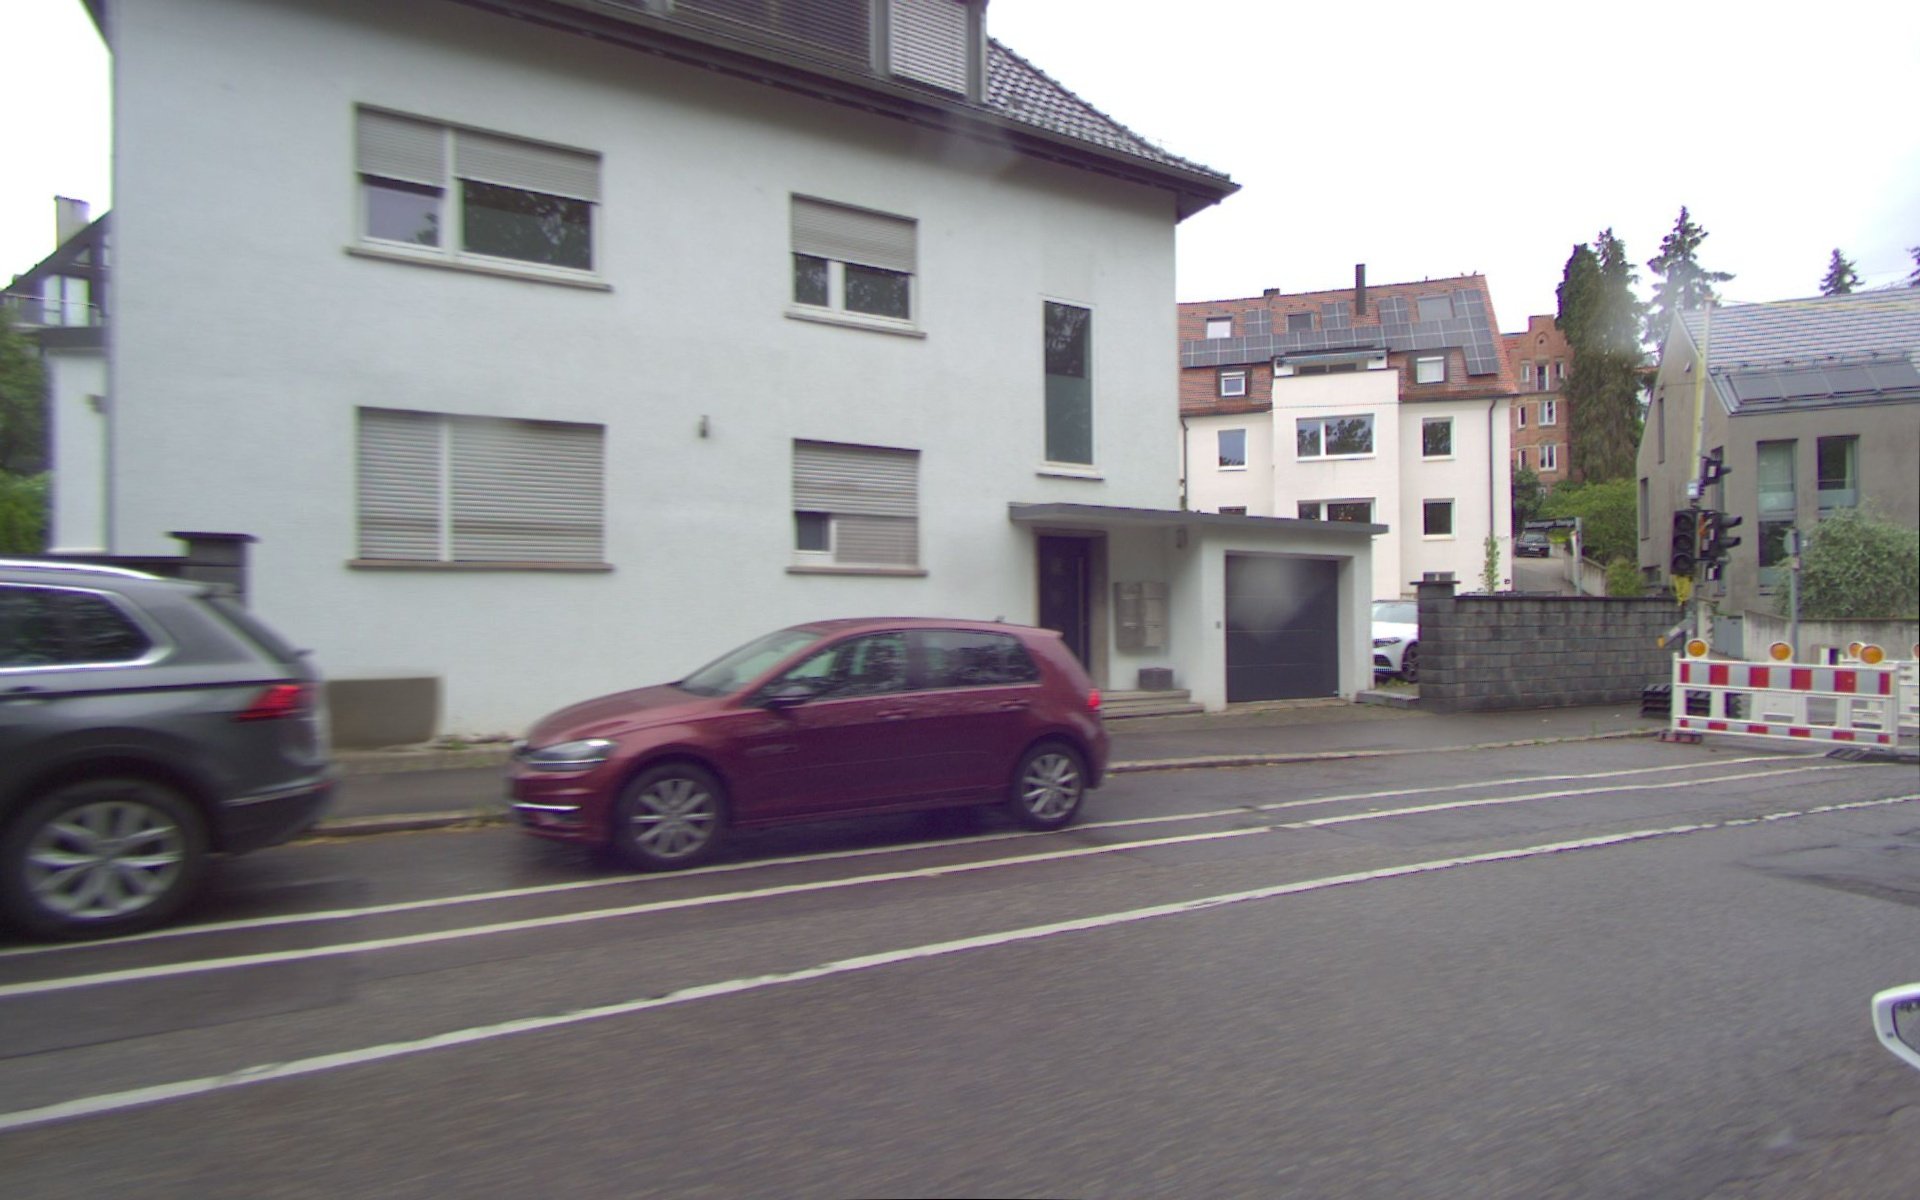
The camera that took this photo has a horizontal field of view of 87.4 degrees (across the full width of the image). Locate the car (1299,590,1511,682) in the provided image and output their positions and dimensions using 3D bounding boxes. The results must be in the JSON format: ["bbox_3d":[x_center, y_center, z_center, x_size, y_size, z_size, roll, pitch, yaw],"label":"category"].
[{"bbox_3d":[7.917,0.627,17.825,3.576,1.483,1.767,1,-2,-32],"label":"car"}]

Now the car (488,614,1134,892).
[{"bbox_3d":[-0.947,0.831,6.987,4.177,1.460,1.610,0,-1,-28],"label":"car"}]

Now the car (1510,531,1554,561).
[{"bbox_3d":[33.788,-3.152,59.421,1.747,1.483,3.616,0,-2,21],"label":"car"}]

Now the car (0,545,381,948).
[{"bbox_3d":[-5.155,0.636,4.482,4.359,1.680,1.744,1,-3,-34],"label":"car"}]
